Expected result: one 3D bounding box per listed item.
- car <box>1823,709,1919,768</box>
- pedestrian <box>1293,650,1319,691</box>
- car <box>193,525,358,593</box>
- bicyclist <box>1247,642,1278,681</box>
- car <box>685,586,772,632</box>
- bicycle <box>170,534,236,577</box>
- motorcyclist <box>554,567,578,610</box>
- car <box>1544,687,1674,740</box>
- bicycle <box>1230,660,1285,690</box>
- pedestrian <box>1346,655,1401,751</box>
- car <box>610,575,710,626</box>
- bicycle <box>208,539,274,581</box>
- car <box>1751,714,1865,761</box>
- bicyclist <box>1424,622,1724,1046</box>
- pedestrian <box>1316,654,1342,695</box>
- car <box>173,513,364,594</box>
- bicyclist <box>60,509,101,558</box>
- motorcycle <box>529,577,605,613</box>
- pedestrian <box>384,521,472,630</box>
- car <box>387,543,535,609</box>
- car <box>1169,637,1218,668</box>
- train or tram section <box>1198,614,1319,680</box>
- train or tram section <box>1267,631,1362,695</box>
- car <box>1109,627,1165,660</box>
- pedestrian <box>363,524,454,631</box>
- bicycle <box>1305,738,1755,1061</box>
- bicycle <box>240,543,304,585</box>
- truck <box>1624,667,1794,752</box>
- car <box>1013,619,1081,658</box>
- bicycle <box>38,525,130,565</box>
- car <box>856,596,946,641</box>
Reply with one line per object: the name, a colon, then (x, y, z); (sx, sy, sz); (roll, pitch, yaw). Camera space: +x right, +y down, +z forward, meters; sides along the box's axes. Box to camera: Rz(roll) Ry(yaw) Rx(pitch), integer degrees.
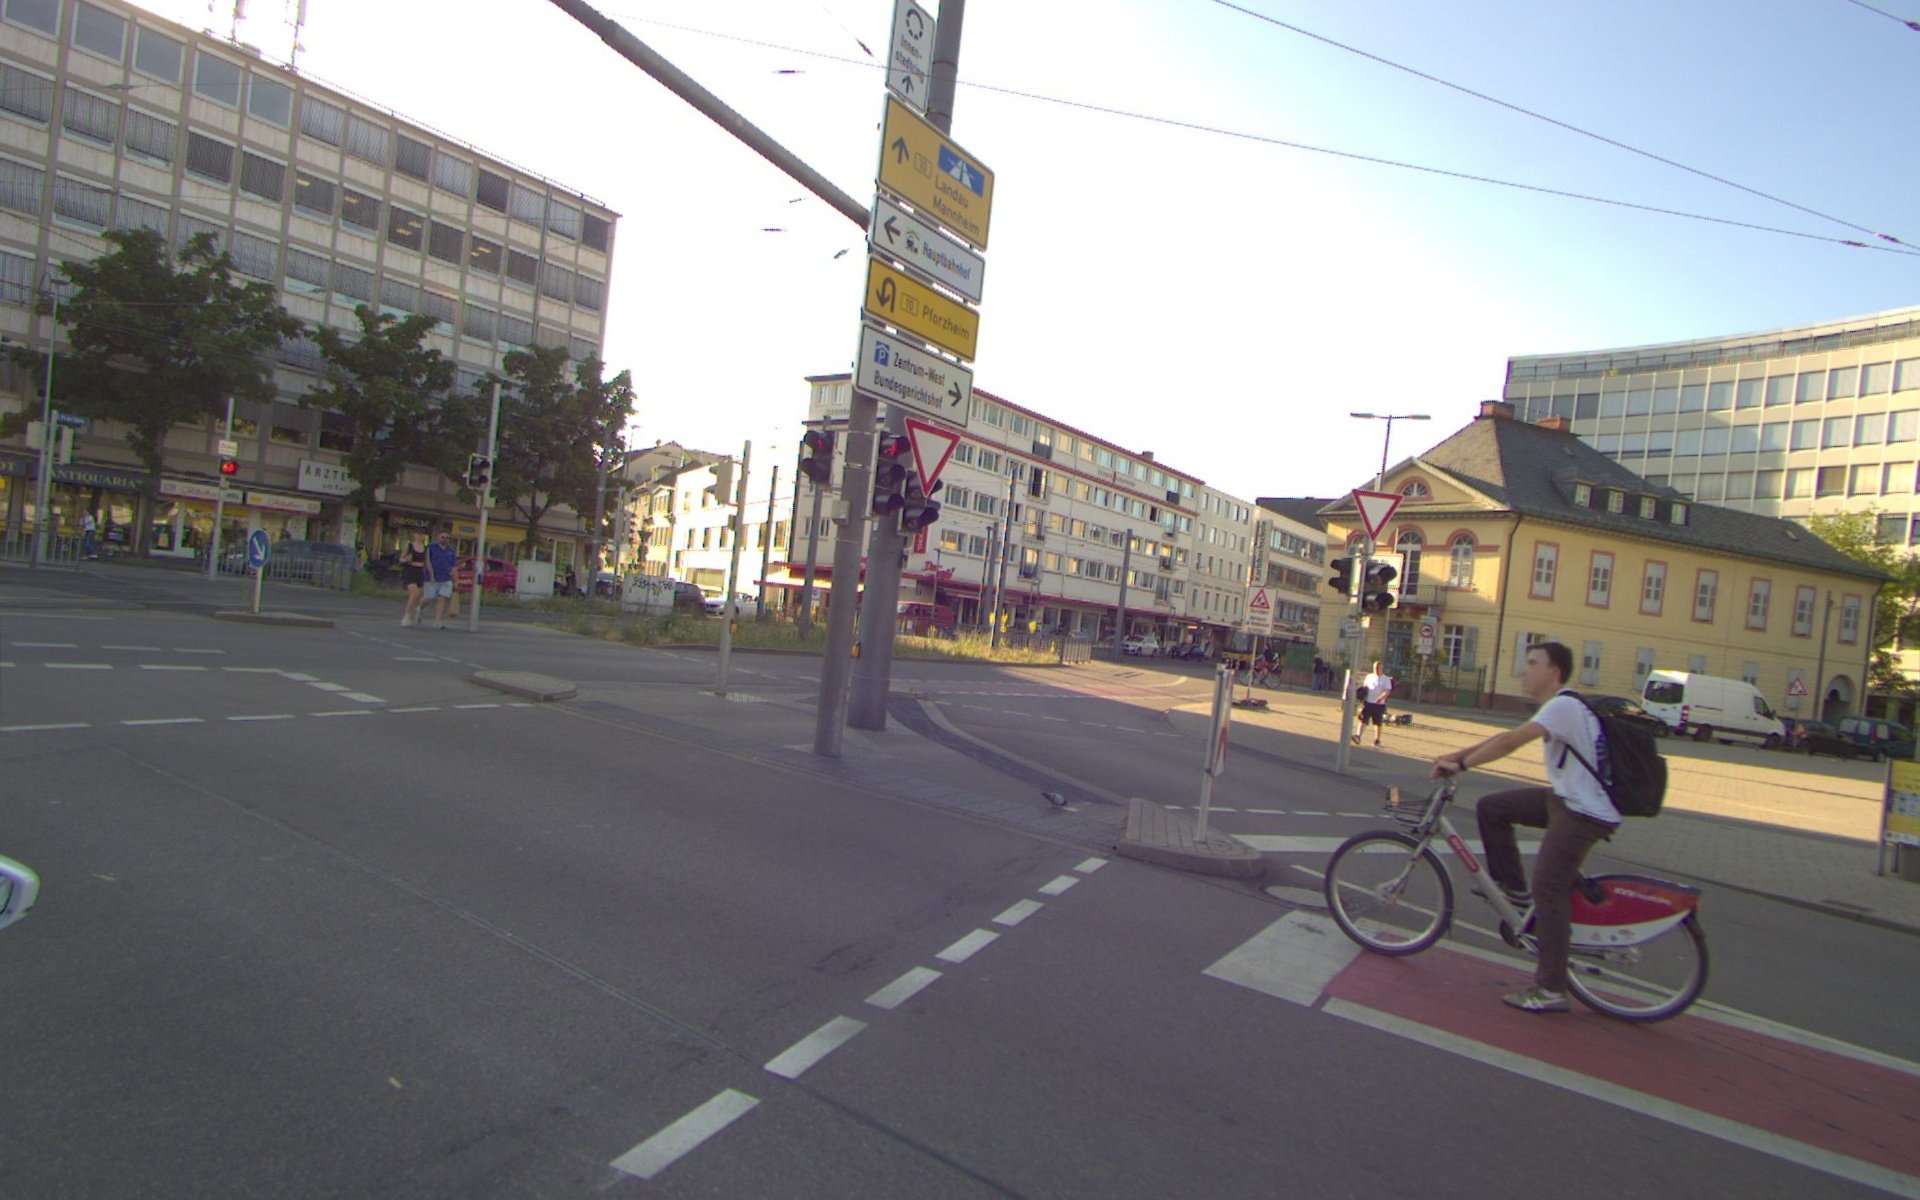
car: (39.037, 5.909, 42.727); (3.704, 2.003, 1.710); (8, -1, -15)
pedestrian: (14.984, 3.047, 43.623); (0.802, 1.661, 0.687); (7, -1, 10)
car: (-22.734, -1.332, 33.523); (1.817, 1.636, 4.068); (6, -2, 38)
bicyclist: (12.366, 2.505, 41.112); (0.881, 1.474, 0.725); (7, -1, 2)
car: (-10.606, 0.438, 46.309); (1.810, 1.636, 4.002); (6, -2, 21)
bicycle: (-26.863, -1.587, 35.684); (2.594, 1.157, 0.751); (9, 0, 28)
motorcyclist: (-14.635, -0.425, 37.380); (0.527, 1.526, 0.460); (6, -1, 38)
car: (24.356, 4.253, 37.775); (4.131, 1.380, 1.710); (8, -2, -15)
bicycle: (12.151, 3.061, 41.108); (1.954, 0.959, 0.725); (7, -1, 2)
pedestrian: (8.288, 2.047, 20.189); (0.746, 1.783, 1.008); (7, -1, 17)
car: (-12.227, 0.064, 41.257); (1.810, 1.636, 4.003); (7, -2, 19)
bicycle: (-26.255, -1.460, 36.711); (2.594, 1.157, 0.751); (9, 0, 28)
car: (34.941, 5.649, 41.459); (3.704, 1.380, 1.710); (8, -2, -15)
bicyclist: (2.981, 1.072, 4.974); (1.042, 1.789, 0.542); (6, -1, 29)
pedestrian: (15.946, 3.206, 43.465); (0.802, 1.661, 0.687); (7, -1, 11)
car: (-19.491, -1.280, 28.509); (1.817, 1.636, 3.988); (6, -2, 38)
bicyclist: (-27.963, -2.108, 31.983); (0.660, 1.441, 0.680); (6, -1, 33)
motorcycle: (-14.602, -0.156, 37.468); (0.527, 1.013, 2.663); (6, -2, 38)
pedestrian: (-9.616, -0.421, 18.227); (1.023, 1.814, 0.697); (7, -1, -4)
car: (-16.866, -0.767, 34.160); (1.817, 1.636, 3.988); (6, -2, 38)
car: (19.850, 4.464, 85.316); (1.971, 2.037, 4.855); (6, -2, 40)
train or tram section: (22.413, 3.619, 74.664); (3.661, 3.880, 13.308); (6, -1, 38)
train or tram section: (30.132, 5.436, 85.023); (3.659, 3.874, 12.955); (6, -4, 37)
car: (13.923, 3.457, 78.905); (1.971, 2.037, 4.855); (6, -2, 40)
pedestrian: (-9.570, -0.365, 17.490); (1.023, 1.702, 0.697); (7, -1, -4)
bicycle: (2.761, 1.398, 5.054); (1.777, 1.114, 0.542); (6, -1, 29)
bicycle: (-25.740, -1.360, 37.608); (2.594, 1.157, 0.751); (9, 0, 28)
truck: (29.627, 4.324, 39.835); (5.553, 2.578, 2.295); (8, -2, -15)
car: (5.895, 2.584, 67.386); (1.971, 2.037, 4.855); (6, -2, 40)
bicycle: (-27.923, -1.741, 32.100); (0.660, 0.951, 2.028); (6, -2, 32)
car: (-3.140, 1.021, 54.404); (4.599, 1.863, 1.881); (9, -2, -43)
